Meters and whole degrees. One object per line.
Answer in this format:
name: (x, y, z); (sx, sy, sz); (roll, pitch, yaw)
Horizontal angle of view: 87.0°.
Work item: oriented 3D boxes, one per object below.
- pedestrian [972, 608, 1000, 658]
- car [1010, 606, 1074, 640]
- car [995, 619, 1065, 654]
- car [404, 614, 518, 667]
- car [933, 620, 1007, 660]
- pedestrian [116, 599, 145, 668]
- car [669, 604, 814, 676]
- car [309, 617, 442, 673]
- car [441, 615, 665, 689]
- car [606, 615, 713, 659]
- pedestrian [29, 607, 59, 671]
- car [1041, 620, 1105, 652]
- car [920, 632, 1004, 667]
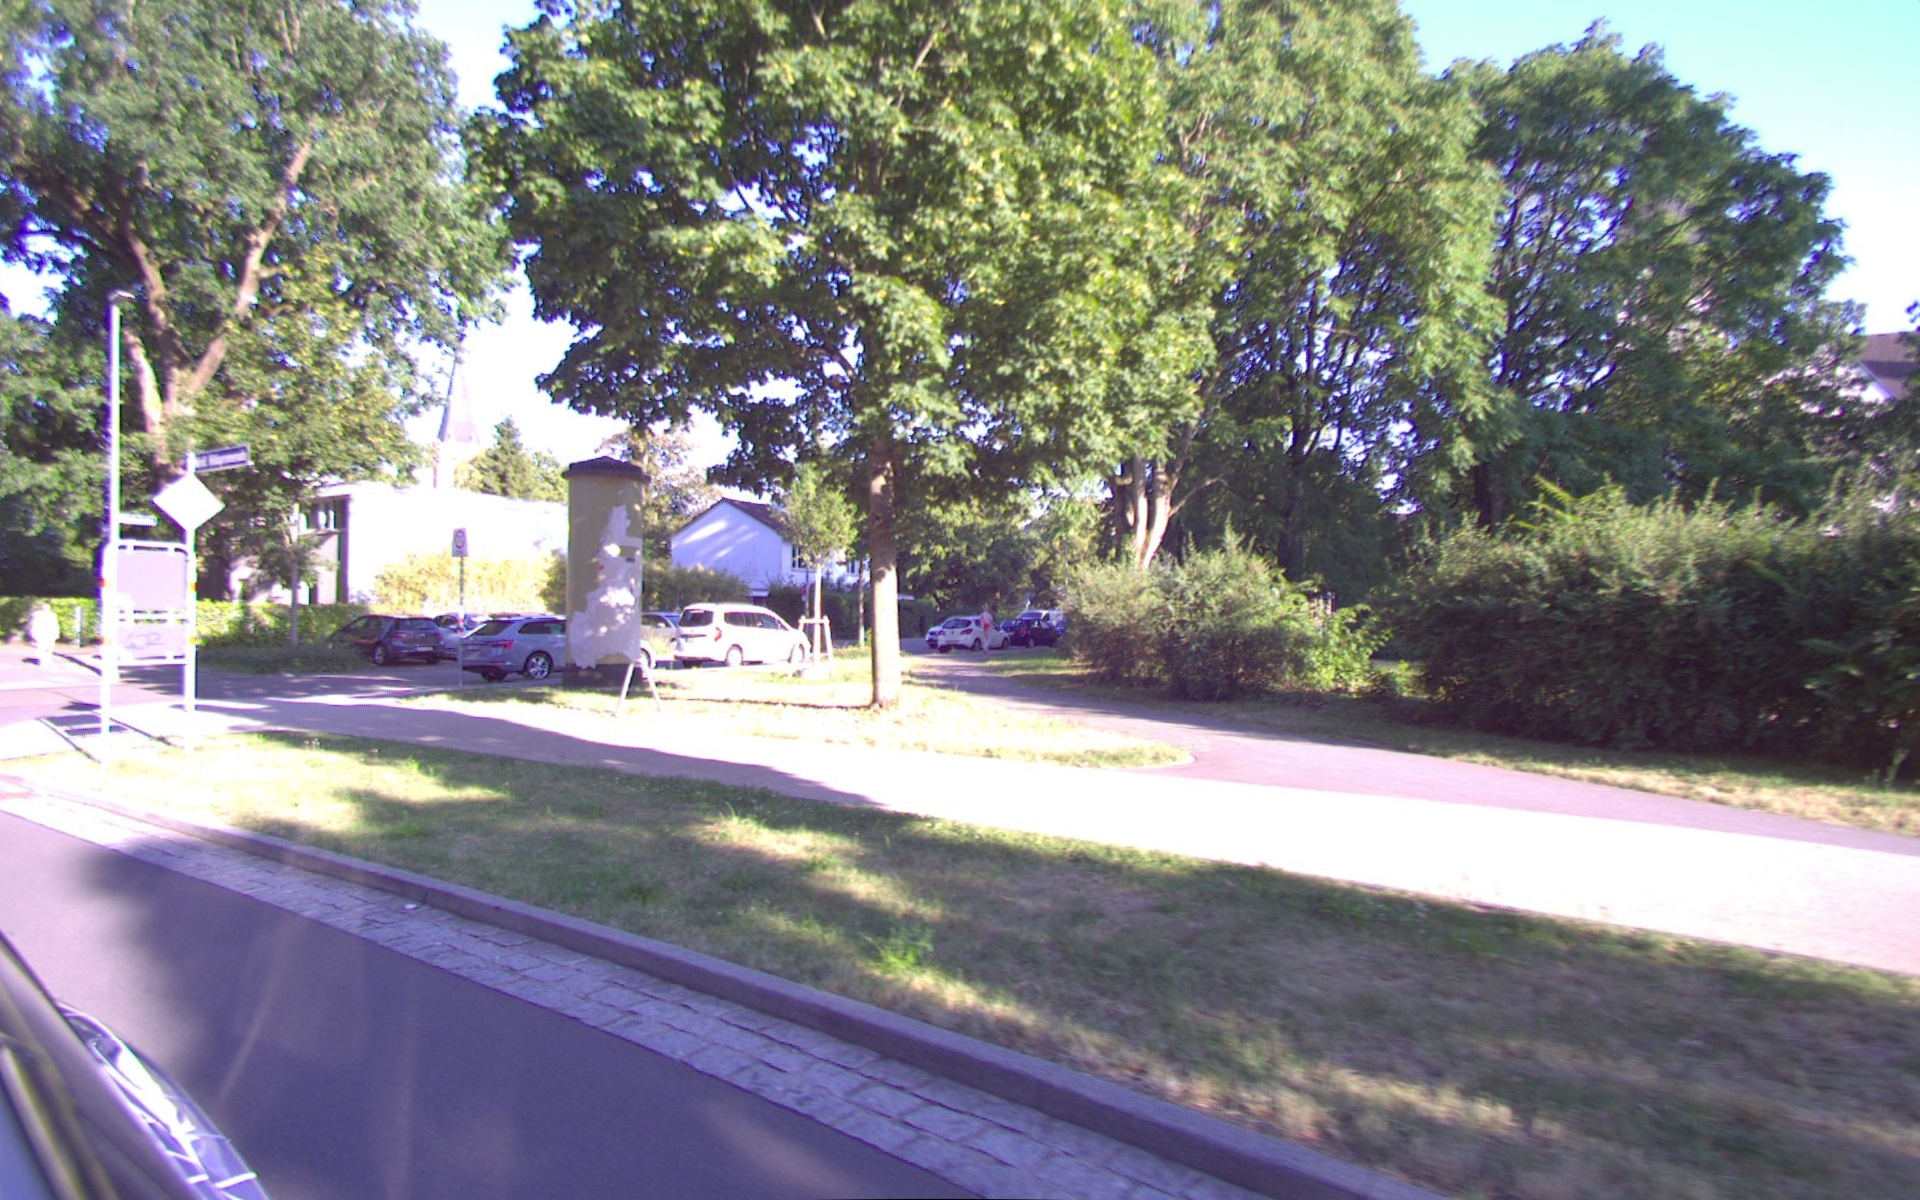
pedestrian: (0.937, 1.176, 36.230); (0.714, 1.750, 0.739); (-1, -1, 31)
car: (4.980, 1.366, 61.043); (2.054, 1.945, 4.400); (-1, -1, 32)
car: (3.221, 1.680, 45.980); (1.712, 1.521, 3.639); (-1, -3, 32)
car: (-15.804, 1.244, 32.044); (3.342, 1.502, 1.621); (1, 0, 30)
car: (0.453, 1.610, 41.475); (1.710, 1.520, 3.277); (-1, -1, 29)
pedestrian: (-21.875, 0.870, 26.678); (0.665, 1.788, 0.430); (-1, -1, 36)
car: (-6.269, 1.124, 29.440); (1.756, 1.931, 4.193); (-1, -1, 31)
car: (-17.165, 1.269, 29.704); (3.984, 1.527, 1.628); (0, -1, 30)
car: (-9.447, 1.150, 23.923); (1.861, 1.570, 4.786); (-1, -1, 31)
car: (-11.647, 1.403, 39.155); (3.907, 1.549, 1.728); (1, 0, 29)
pedestrian: (-23.208, 0.972, 25.637); (0.665, 1.593, 0.430); (-1, -1, 36)
car: (5.599, 1.736, 49.859); (1.712, 1.520, 3.639); (-1, -1, 32)
car: (0.143, 2.323, 48.259); (1.780, 1.547, 4.292); (-2, -2, 37)
